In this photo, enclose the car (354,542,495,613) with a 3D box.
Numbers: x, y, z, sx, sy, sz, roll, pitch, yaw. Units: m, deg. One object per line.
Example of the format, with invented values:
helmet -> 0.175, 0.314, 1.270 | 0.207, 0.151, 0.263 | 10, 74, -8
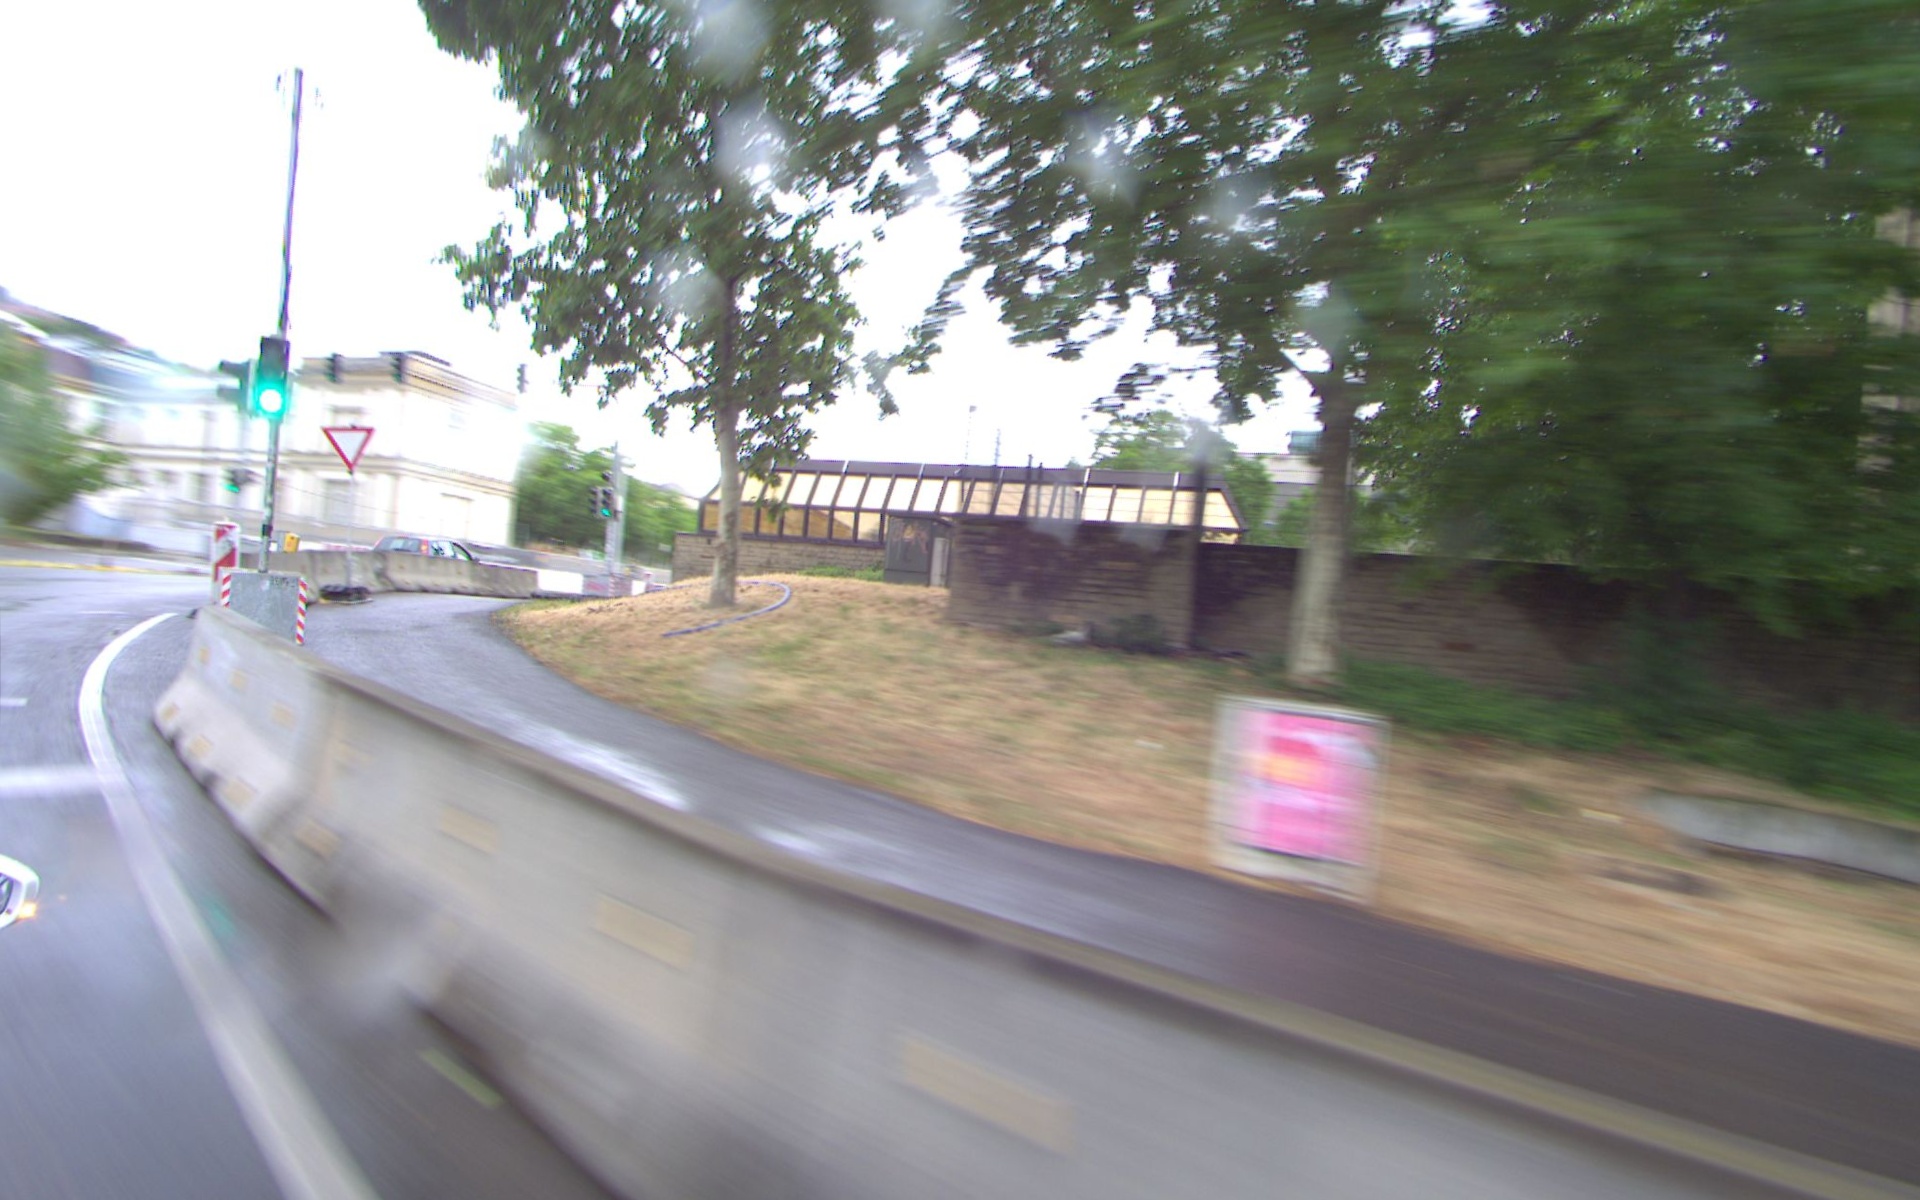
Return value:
car -> -13.872, -0.520, 26.301 | 1.645, 1.443, 3.759 | 8, -2, -2
